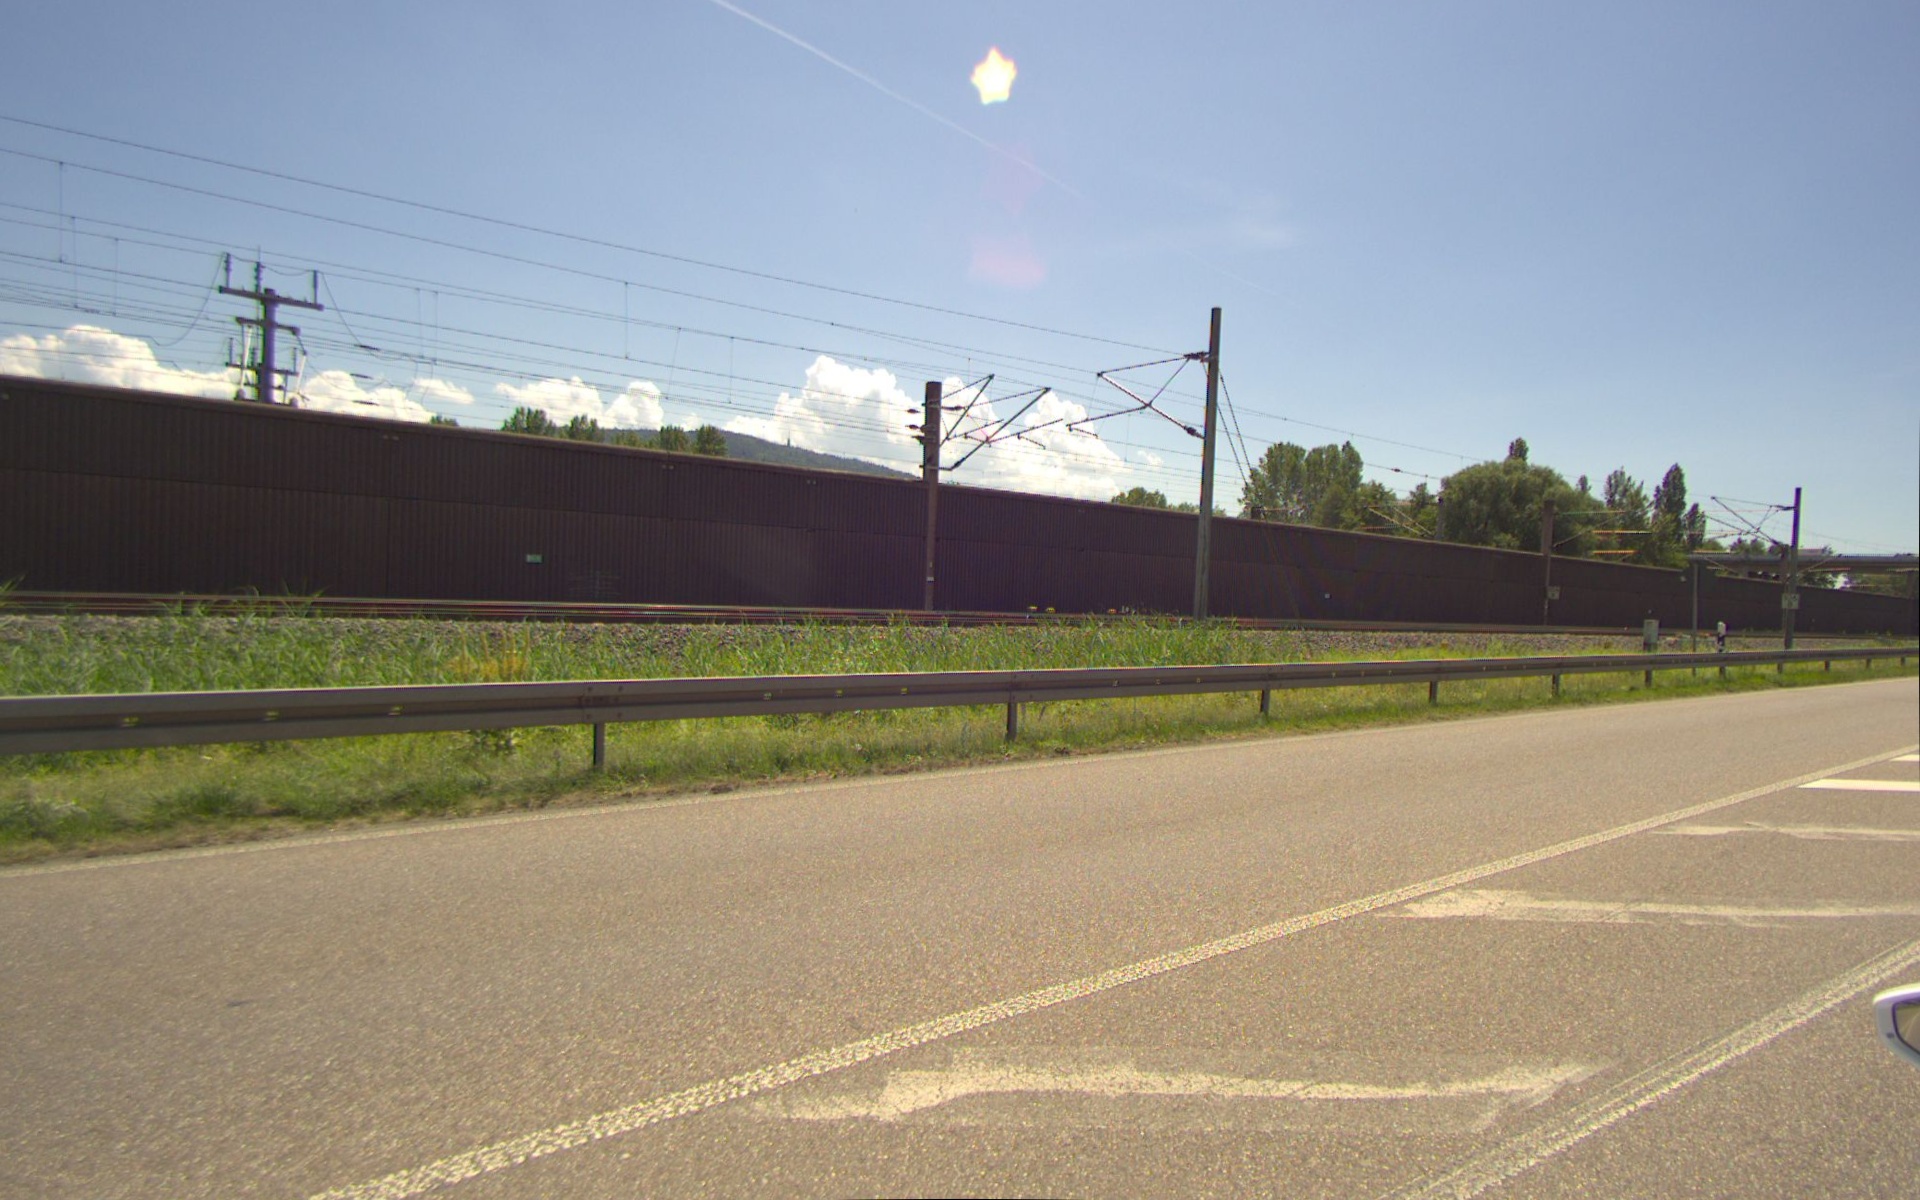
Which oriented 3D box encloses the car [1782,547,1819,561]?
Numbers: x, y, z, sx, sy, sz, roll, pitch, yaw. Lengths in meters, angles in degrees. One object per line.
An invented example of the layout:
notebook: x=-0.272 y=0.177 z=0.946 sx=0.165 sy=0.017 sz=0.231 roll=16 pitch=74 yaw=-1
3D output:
car: x=129.820 y=-7.120 z=155.149 sx=1.980 sy=2.040 sz=3.961 roll=1 pitch=1 yaw=-35
